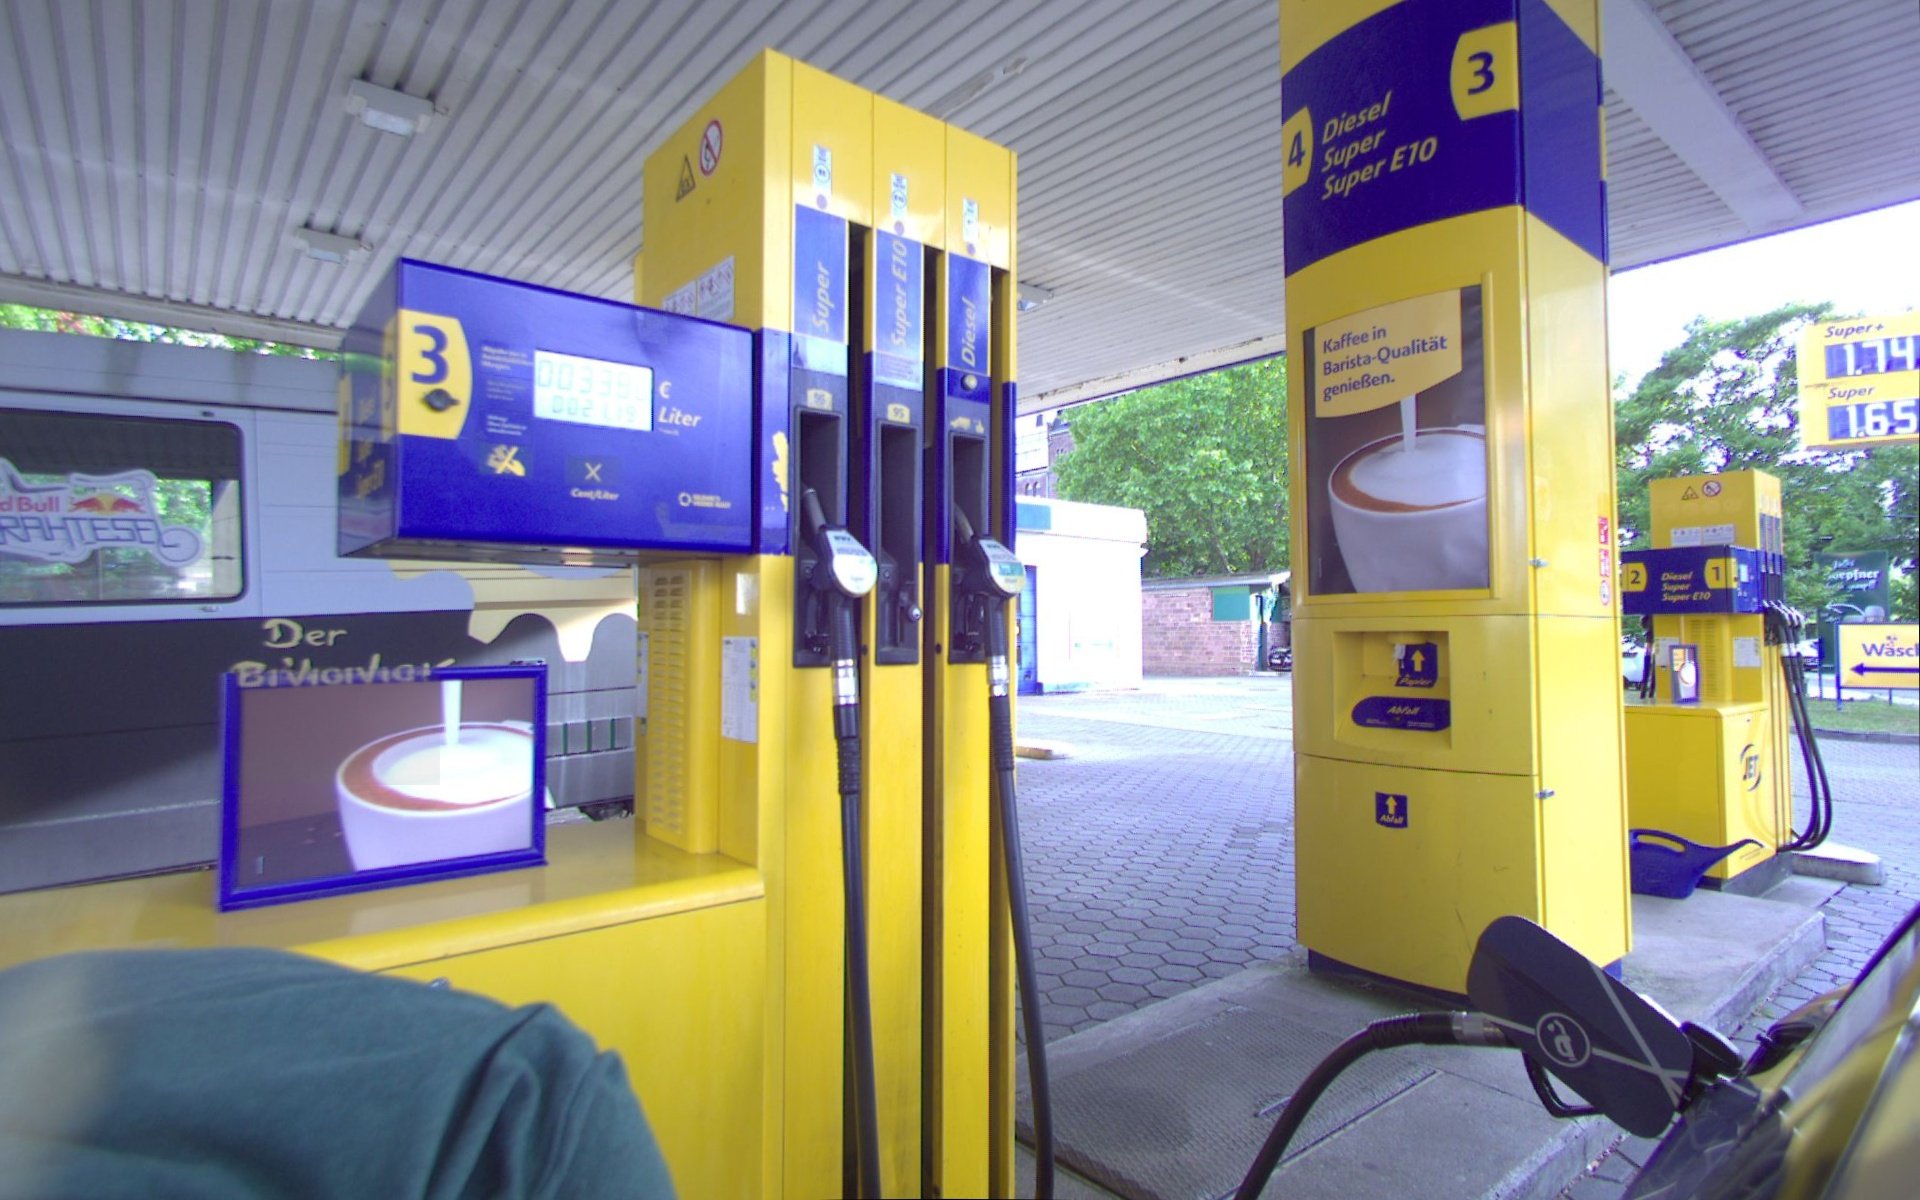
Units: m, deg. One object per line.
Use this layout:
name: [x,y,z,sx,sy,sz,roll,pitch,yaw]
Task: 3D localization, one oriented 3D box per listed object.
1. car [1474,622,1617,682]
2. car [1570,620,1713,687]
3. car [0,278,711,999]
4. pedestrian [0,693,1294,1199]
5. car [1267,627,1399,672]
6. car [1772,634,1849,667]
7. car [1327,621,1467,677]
car: [17.848,1.599,30.802,4.303,1.622,1.776,4,-4,-28]
car: [18.358,1.455,27.203,4.308,1.622,1.774,4,-4,-35]
car: [-4.105,0.163,4.893,5.197,2.726,2.258,1,-2,-39]
pedestrian: [-0.330,0.751,0.546,0.662,1.298,0.751,0,0,-41]
car: [12.692,1.663,34.428,4.303,1.393,1.777,2,-1,-28]
car: [40.620,2.372,48.466,1.737,1.487,4.527,-1,-2,26]
car: [13.888,1.540,32.137,4.303,1.622,1.777,2,-1,-28]
